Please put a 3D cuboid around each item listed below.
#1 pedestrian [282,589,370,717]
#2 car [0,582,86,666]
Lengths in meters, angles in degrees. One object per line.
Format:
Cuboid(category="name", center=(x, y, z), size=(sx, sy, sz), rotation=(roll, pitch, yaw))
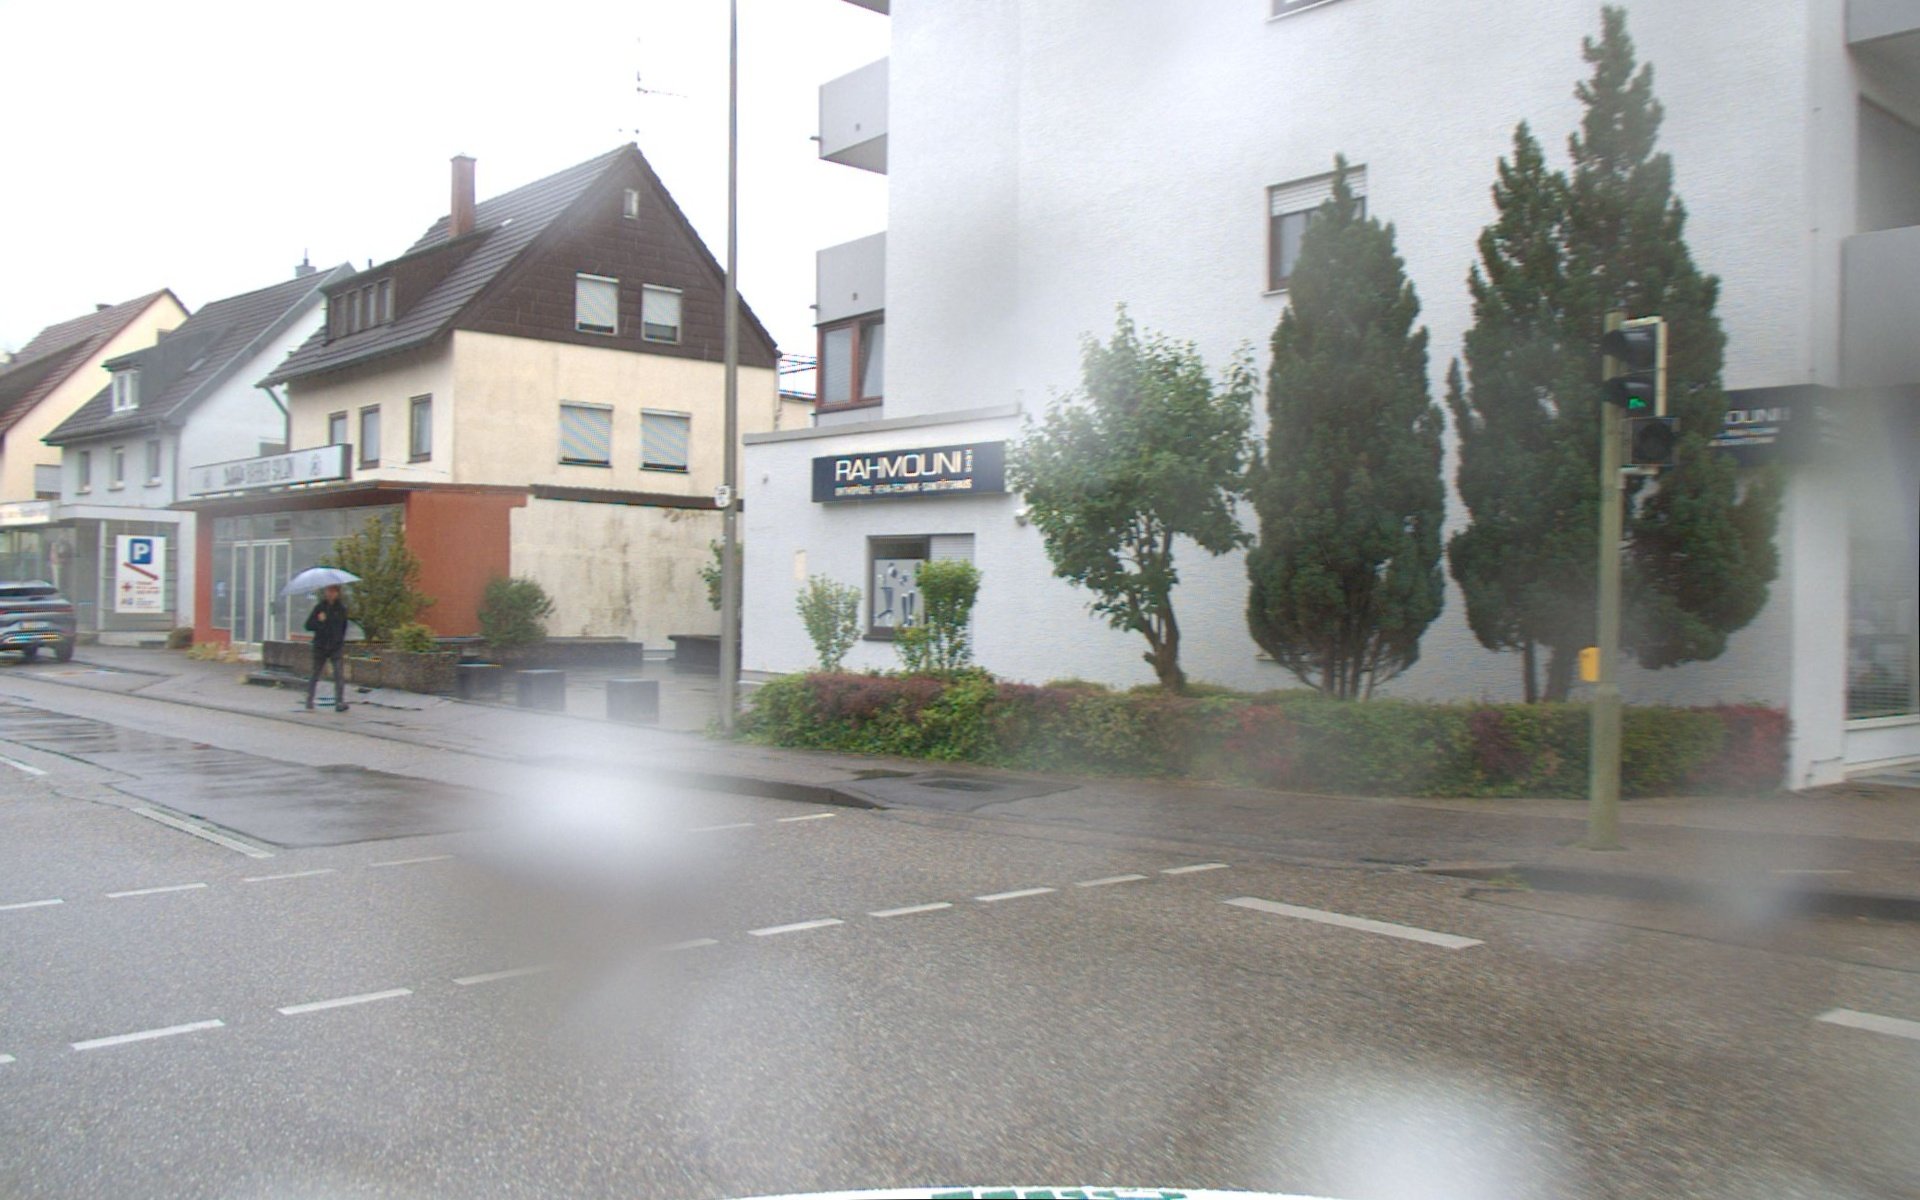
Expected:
Cuboid(category="pedestrian", center=(-8.156, 0.681, 21.268), size=(0.747, 1.596, 0.979), rotation=(3, -3, -39))
Cuboid(category="car", center=(-20.653, 0.509, 36.149), size=(1.863, 1.671, 4.726), rotation=(-2, 1, -38))
